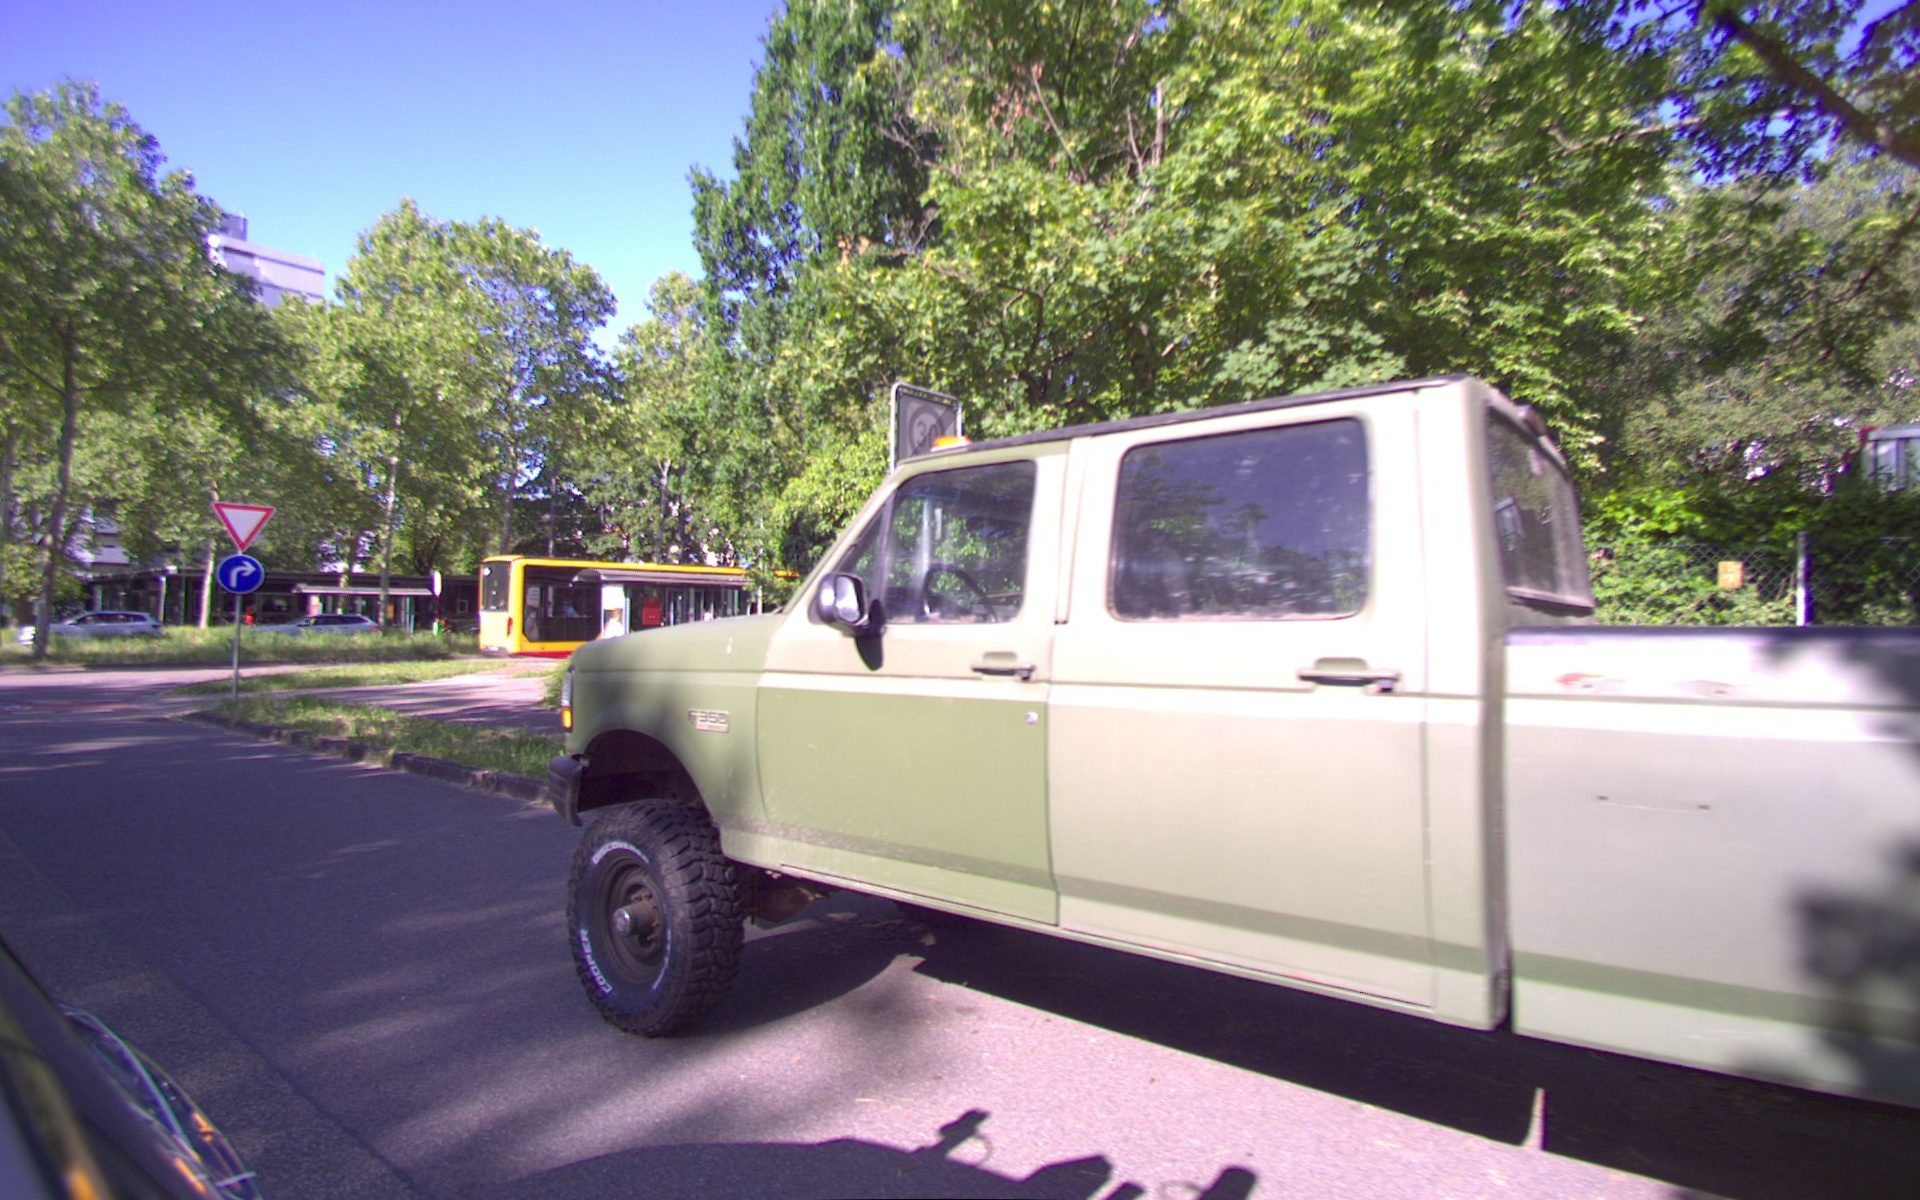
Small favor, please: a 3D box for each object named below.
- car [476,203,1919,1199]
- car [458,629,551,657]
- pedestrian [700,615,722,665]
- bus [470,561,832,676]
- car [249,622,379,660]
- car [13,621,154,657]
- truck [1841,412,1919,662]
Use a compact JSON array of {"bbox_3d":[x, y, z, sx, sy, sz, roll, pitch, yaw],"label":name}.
[{"bbox_3d":[1.245,0.499,2.963,6.575,2.112,2.099,-1,-2,38],"label":"car"},{"bbox_3d":[-23.012,2.164,51.231,1.620,1.229,4.008,-1,0,44],"label":"car"},{"bbox_3d":[-8.142,1.294,33.109,0.474,1.614,0.589,-1,0,10],"label":"pedestrian"},{"bbox_3d":[-9.875,0.509,34.338,2.698,3.294,11.977,-1,0,44],"label":"bus"},{"bbox_3d":[-27.492,1.705,43.168,1.619,1.402,4.423,-1,0,42],"label":"car"},{"bbox_3d":[-33.855,1.485,39.167,1.620,1.229,4.008,-1,0,44],"label":"car"},{"bbox_3d":[9.741,-0.438,9.264,2.200,2.029,3.950,-1,-3,37],"label":"truck"}]
